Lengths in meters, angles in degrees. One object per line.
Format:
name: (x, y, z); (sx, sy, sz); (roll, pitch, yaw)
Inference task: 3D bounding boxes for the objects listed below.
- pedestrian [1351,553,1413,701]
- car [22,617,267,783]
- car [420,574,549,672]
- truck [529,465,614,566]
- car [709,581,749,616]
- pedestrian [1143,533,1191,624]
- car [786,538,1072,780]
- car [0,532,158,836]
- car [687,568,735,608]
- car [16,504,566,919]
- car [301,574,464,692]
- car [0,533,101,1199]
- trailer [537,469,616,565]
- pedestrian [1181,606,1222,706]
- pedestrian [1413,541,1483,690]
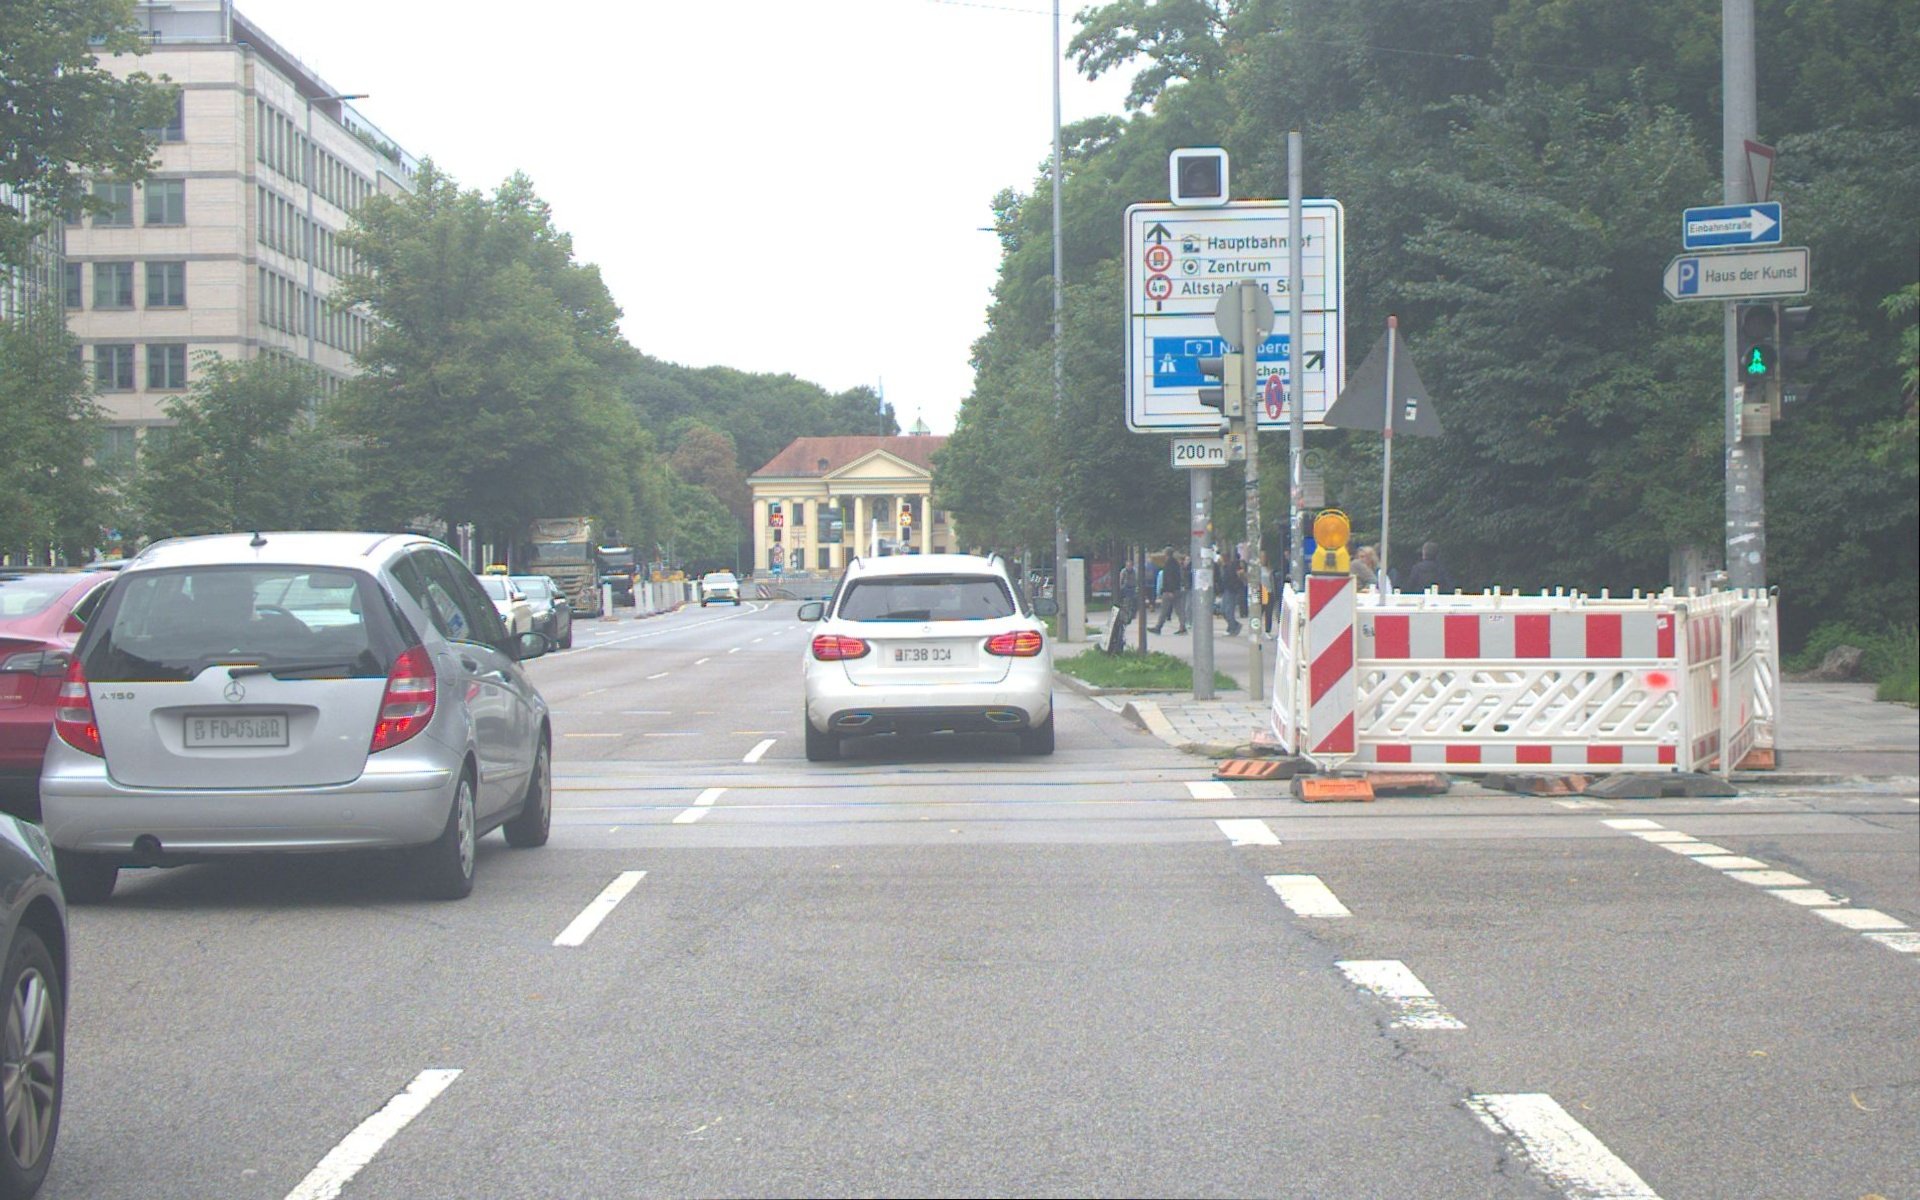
pedestrian: (5.288, 0.333, 43.094); (0.671, 1.832, 0.641); (1, 0, 1)
car: (-8.532, 1.006, 36.271); (1.634, 1.566, 3.946); (-1, 1, 0)
car: (-8.053, 0.362, 58.453); (1.634, 1.566, 3.946); (-1, 1, 0)
truck: (-15.058, -3.230, 133.651); (2.915, 3.762, 7.667); (1, 1, -4)
car: (-11.087, -0.069, 164.935); (1.716, 1.634, 3.508); (-1, 0, -1)
pedestrian: (4.270, -0.449, 70.997); (0.805, 1.874, 0.543); (1, 0, 36)
car: (-0.311, 0.385, 25.494); (1.779, 1.639, 4.001); (1, 1, -5)
car: (-5.800, 0.430, 20.555); (1.779, 1.648, 4.001); (1, 1, -11)
car: (-11.609, -0.558, 160.553); (1.857, 1.742, 4.630); (-2, 1, 0)
car: (-2.923, 0.429, 15.840); (1.779, 1.648, 4.000); (1, 1, -1)
car: (-8.149, 0.434, 48.800); (1.634, 1.566, 3.946); (-1, 1, 0)
car: (-2.846, 0.634, 6.007); (1.710, 1.547, 4.000); (1, 1, -1)
trailer: (-15.688, -3.337, 141.281); (2.949, 3.727, 11.773); (1, 1, -5)
pedestrian: (4.707, 1.091, 67.091); (0.708, 1.909, 0.956); (1, 0, 0)
pedestrian: (6.099, 0.189, 42.954); (0.751, 1.832, 0.756); (1, 0, 1)
